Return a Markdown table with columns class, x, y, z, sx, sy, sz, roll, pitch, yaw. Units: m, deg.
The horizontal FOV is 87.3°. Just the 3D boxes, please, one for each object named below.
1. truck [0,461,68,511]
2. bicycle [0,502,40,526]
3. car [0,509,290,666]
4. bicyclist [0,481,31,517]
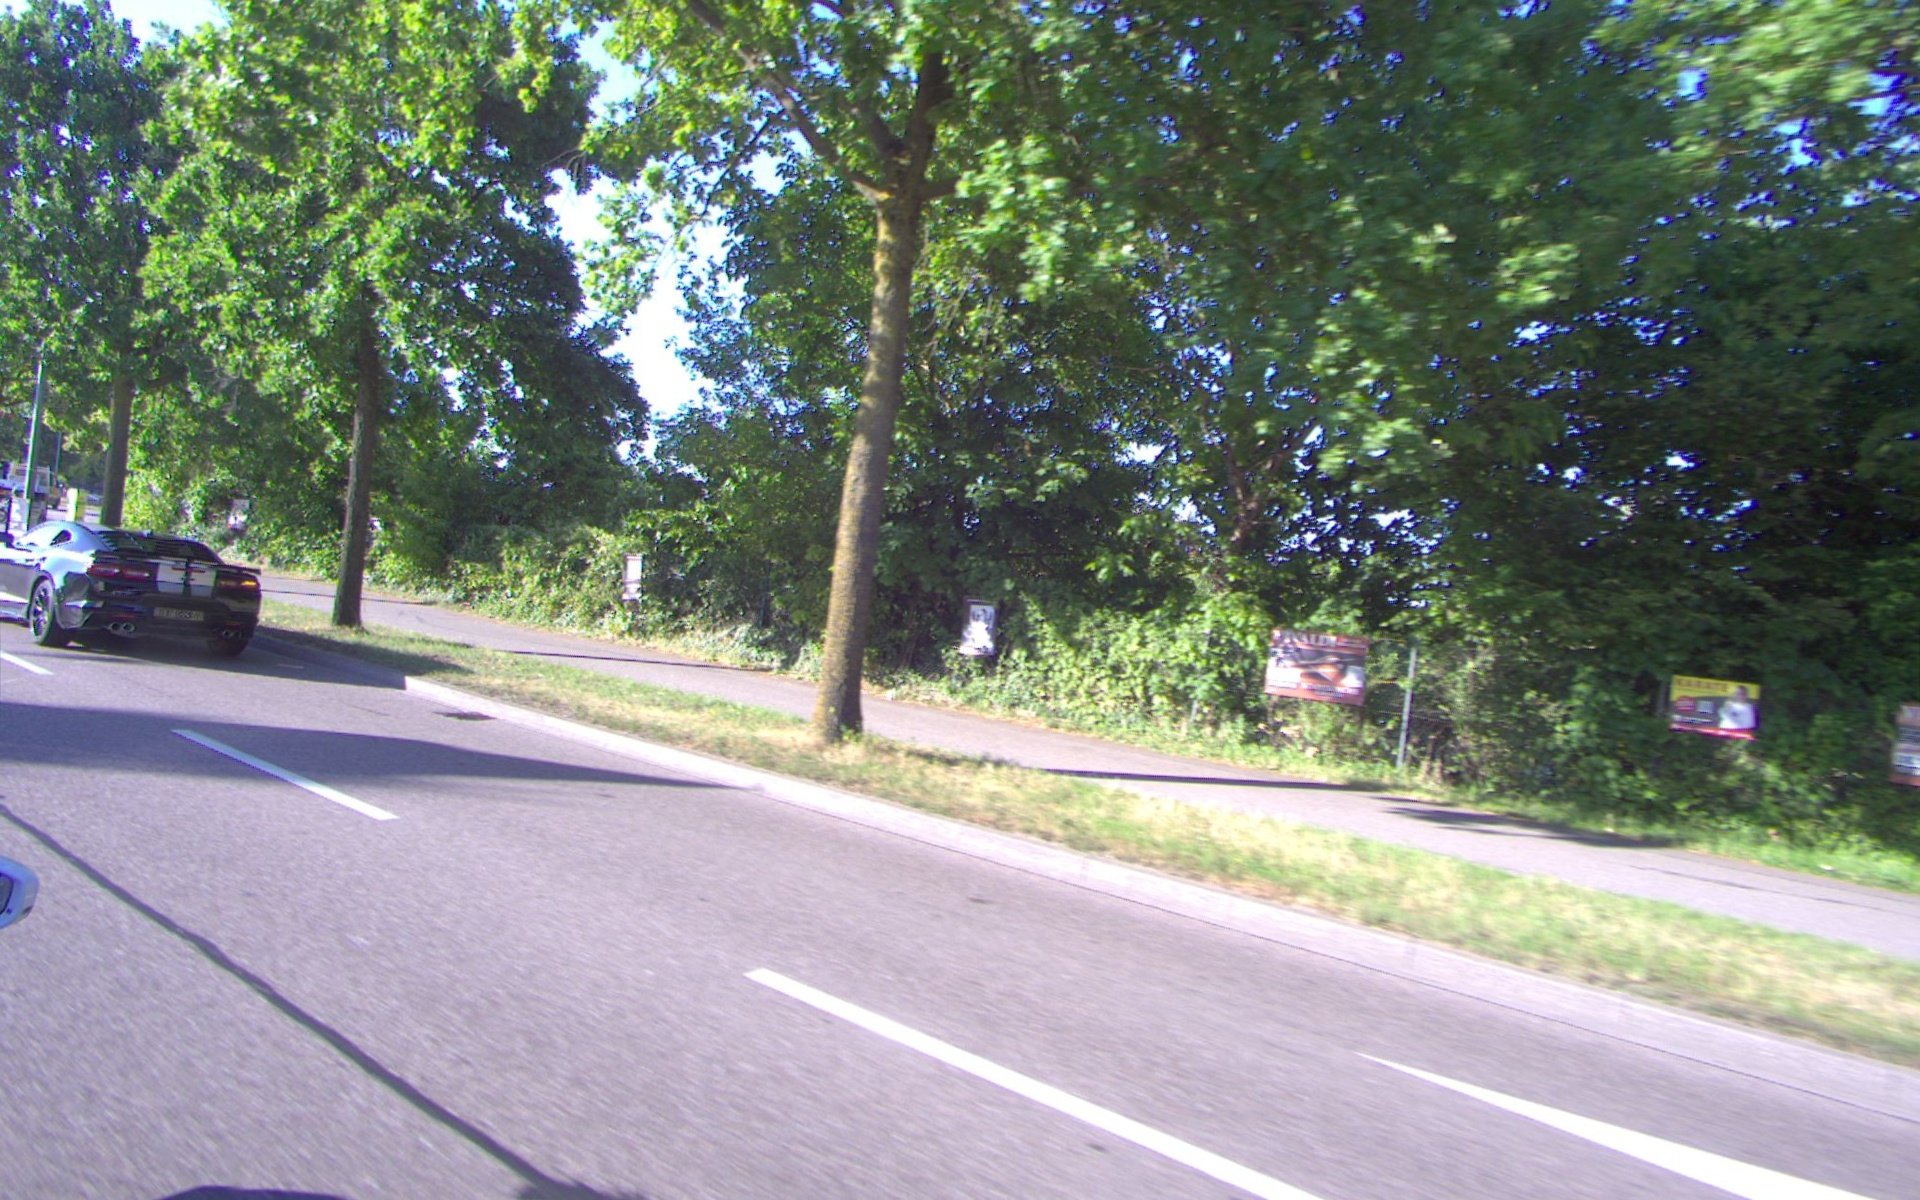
| class | x | y | z | sx | sy | sz | roll | pitch | yaw |
| --- | --- | --- | --- | --- | --- | --- | --- | --- | --- |
| truck | -57.318 | -6.991 | 61.686 | 2.561 | 2.590 | 6.201 | 7 | 1 | -30 |
| bicycle | -37.094 | -3.401 | 39.458 | 0.431 | 0.796 | 1.464 | 7 | 1 | 16 |
| car | -10.181 | -0.224 | 12.034 | 4.550 | 1.353 | 1.858 | 6 | -3 | 33 |
| bicyclist | -37.026 | -3.958 | 39.444 | 0.457 | 1.311 | 0.650 | 8 | 2 | 16 |
